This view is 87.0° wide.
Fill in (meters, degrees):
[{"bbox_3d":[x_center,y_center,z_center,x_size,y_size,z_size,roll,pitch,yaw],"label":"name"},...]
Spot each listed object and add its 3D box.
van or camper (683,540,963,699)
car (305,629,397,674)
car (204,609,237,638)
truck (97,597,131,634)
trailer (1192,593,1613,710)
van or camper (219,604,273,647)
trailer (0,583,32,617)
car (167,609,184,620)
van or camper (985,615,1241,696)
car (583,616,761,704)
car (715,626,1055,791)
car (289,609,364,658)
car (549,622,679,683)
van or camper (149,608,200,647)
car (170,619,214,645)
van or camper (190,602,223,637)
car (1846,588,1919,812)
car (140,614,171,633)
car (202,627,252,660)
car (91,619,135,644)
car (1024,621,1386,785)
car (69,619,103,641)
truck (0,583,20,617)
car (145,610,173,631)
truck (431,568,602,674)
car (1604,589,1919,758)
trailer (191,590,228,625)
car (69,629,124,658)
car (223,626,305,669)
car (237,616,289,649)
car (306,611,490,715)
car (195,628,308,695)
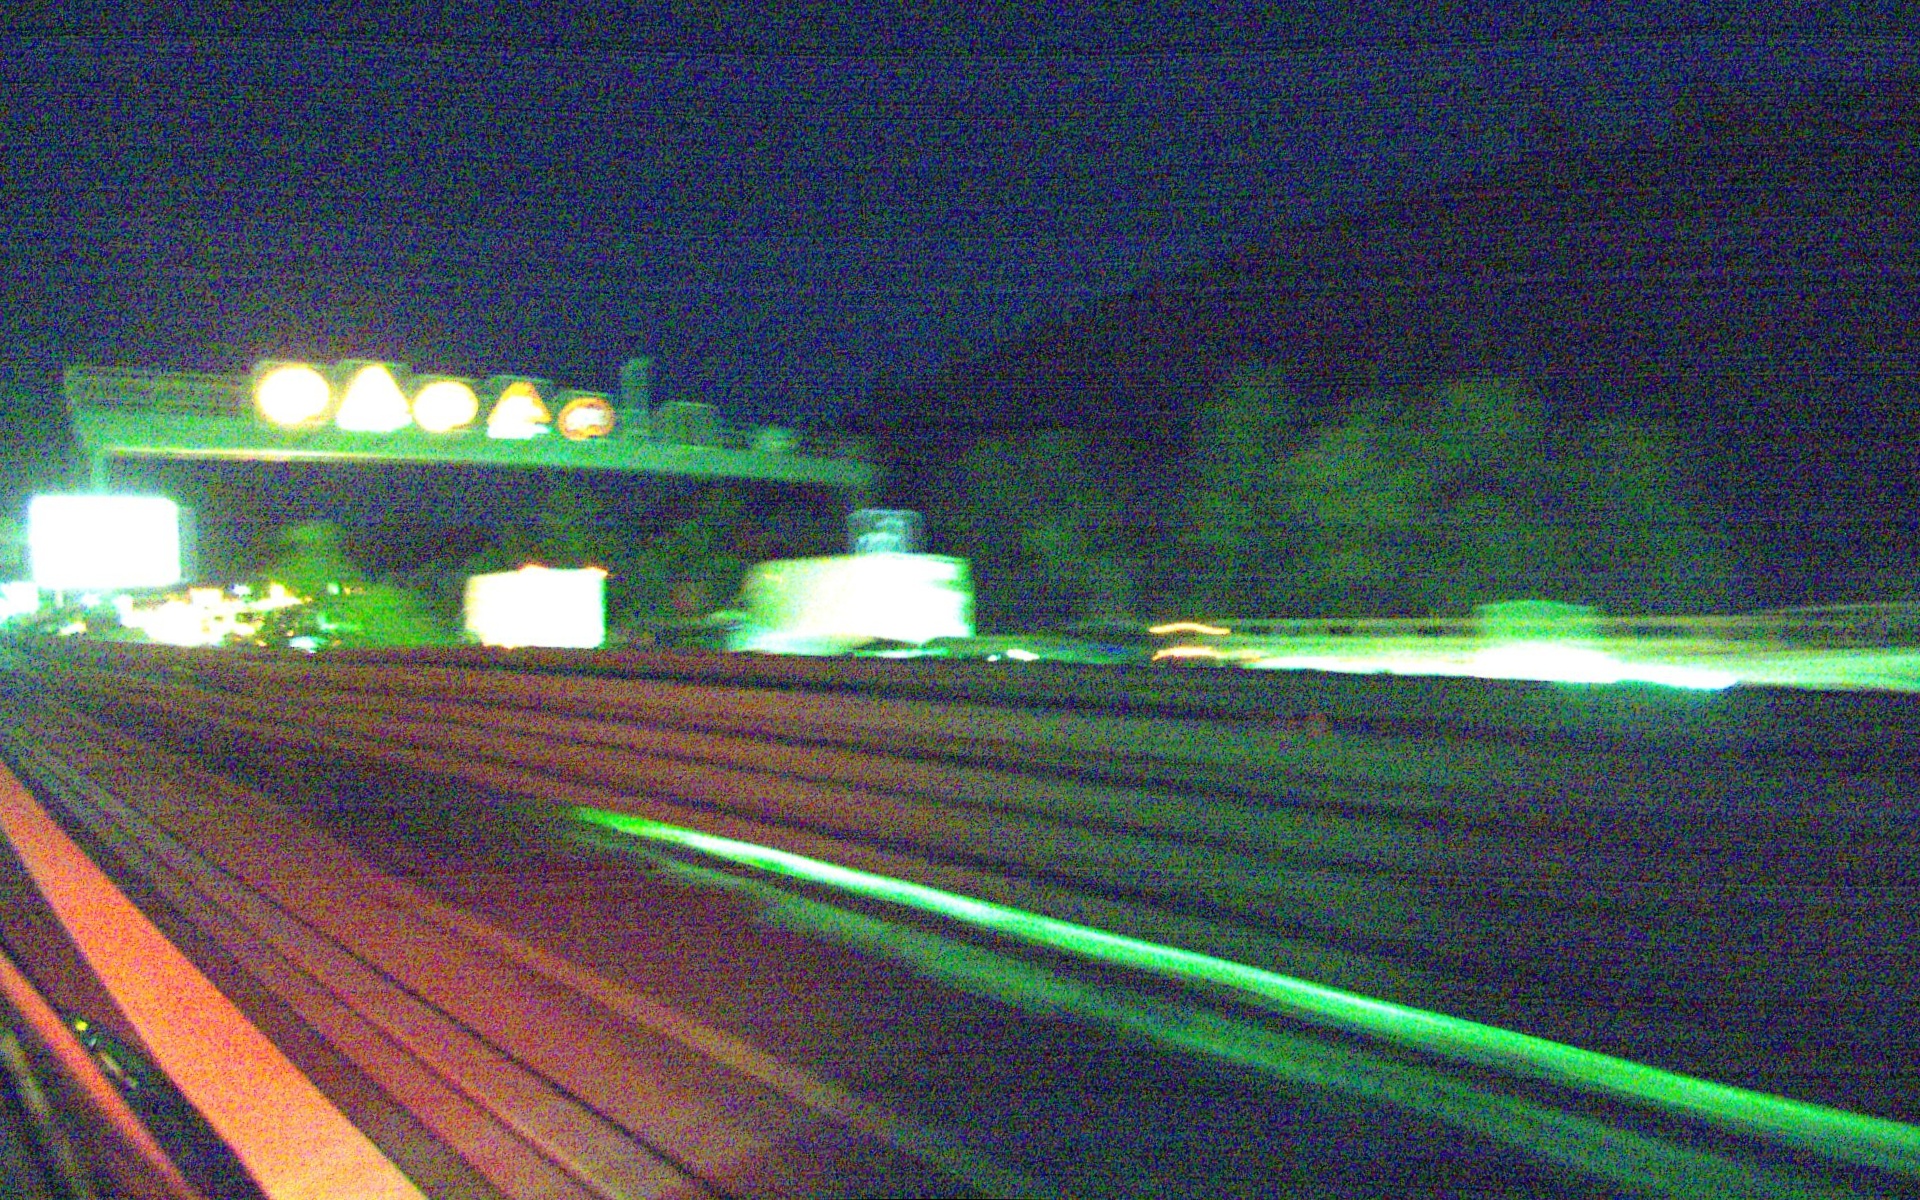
[{"bbox_3d":[-3.283,0.446,22.575,7.124,3.026,2.198,-2,-2,43],"label":"van or camper"},{"bbox_3d":[-19.896,1.631,32.987,4.221,1.346,1.516,-1,-2,44],"label":"car"},{"bbox_3d":[-63.364,1.991,86.709,1.811,2.388,5.455,1,0,-41],"label":"car"},{"bbox_3d":[-88.473,1.525,105.843,2.621,3.618,8.564,-1,1,-40],"label":"truck"},{"bbox_3d":[7.630,0.833,18.094,6.541,1.739,2.233,-1,-2,42],"label":"trailer"},{"bbox_3d":[-49.987,1.738,70.809,2.415,2.782,6.498,1,0,-41],"label":"van or camper"},{"bbox_3d":[-117.547,-0.052,125.153,2.796,4.004,15.797,-1,1,-38],"label":"trailer"},{"bbox_3d":[-131.434,2.410,169.607,2.111,1.719,5.125,1,0,-36],"label":"car"},{"bbox_3d":[3.226,1.128,22.159,5.217,1.561,2.198,-2,-2,43],"label":"van or camper"},{"bbox_3d":[-5.802,1.110,20.142,4.001,1.551,1.622,-1,-1,44],"label":"car"},{"bbox_3d":[-0.792,0.885,9.438,3.128,1.266,1.403,-2,-2,42],"label":"car"},{"bbox_3d":[-31.218,1.617,49.842,4.566,2.285,2.107,-1,-2,45],"label":"car"},{"bbox_3d":[-9.893,1.433,28.766,4.438,1.551,1.623,-1,-1,43],"label":"car"},{"bbox_3d":[-55.532,1.924,71.512,2.228,2.614,6.694,2,-2,-43],"label":"van or camper"},{"bbox_3d":[-47.775,1.948,62.940,1.728,1.463,3.844,2,-1,-44],"label":"car"},{"bbox_3d":[-76.715,1.909,103.000,2.241,3.405,5.703,1,0,-41],"label":"van or camper"},{"bbox_3d":[8.695,0.656,6.205,4.856,1.542,1.688,-2,-2,43],"label":"car"},{"bbox_3d":[-67.354,1.962,84.728,1.811,1.462,4.512,1,0,-41],"label":"car"},{"bbox_3d":[-36.647,2.147,50.548,1.586,1.490,4.079,2,-2,-42],"label":"car"},{"bbox_3d":[-54.567,2.005,65.158,4.717,1.557,1.734,-1,-2,45],"label":"car"},{"bbox_3d":[2.554,0.983,11.064,1.679,1.474,3.484,1,-2,-44],"label":"car"},{"bbox_3d":[-63.466,2.139,73.522,1.811,1.462,4.512,1,0,-41],"label":"car"},{"bbox_3d":[-112.862,0.023,119.128,2.856,4.002,4.008,-1,1,-38],"label":"truck"},{"bbox_3d":[-82.123,2.089,103.752,1.970,2.029,4.004,-1,0,-43],"label":"car"},{"bbox_3d":[-15.420,0.692,34.873,7.720,3.285,2.350,0,-2,42],"label":"truck"},{"bbox_3d":[9.836,0.729,10.884,4.732,1.666,1.907,0,0,40],"label":"car"},{"bbox_3d":[-95.228,0.868,128.531,3.390,4.273,12.864,1,0,-35],"label":"trailer"},{"bbox_3d":[-43.048,2.131,50.439,1.734,1.365,4.637,1,-2,-45],"label":"car"},{"bbox_3d":[-29.201,1.954,42.418,4.455,1.673,1.971,-1,-1,44],"label":"car"},{"bbox_3d":[-44.986,2.091,65.316,1.970,1.974,4.991,2,-2,-43],"label":"car"},{"bbox_3d":[-10.936,1.104,19.522,4.870,1.754,1.786,-1,-1,45],"label":"car"},{"bbox_3d":[-18.486,1.541,26.340,4.001,1.578,1.662,-1,-2,44],"label":"car"}]
